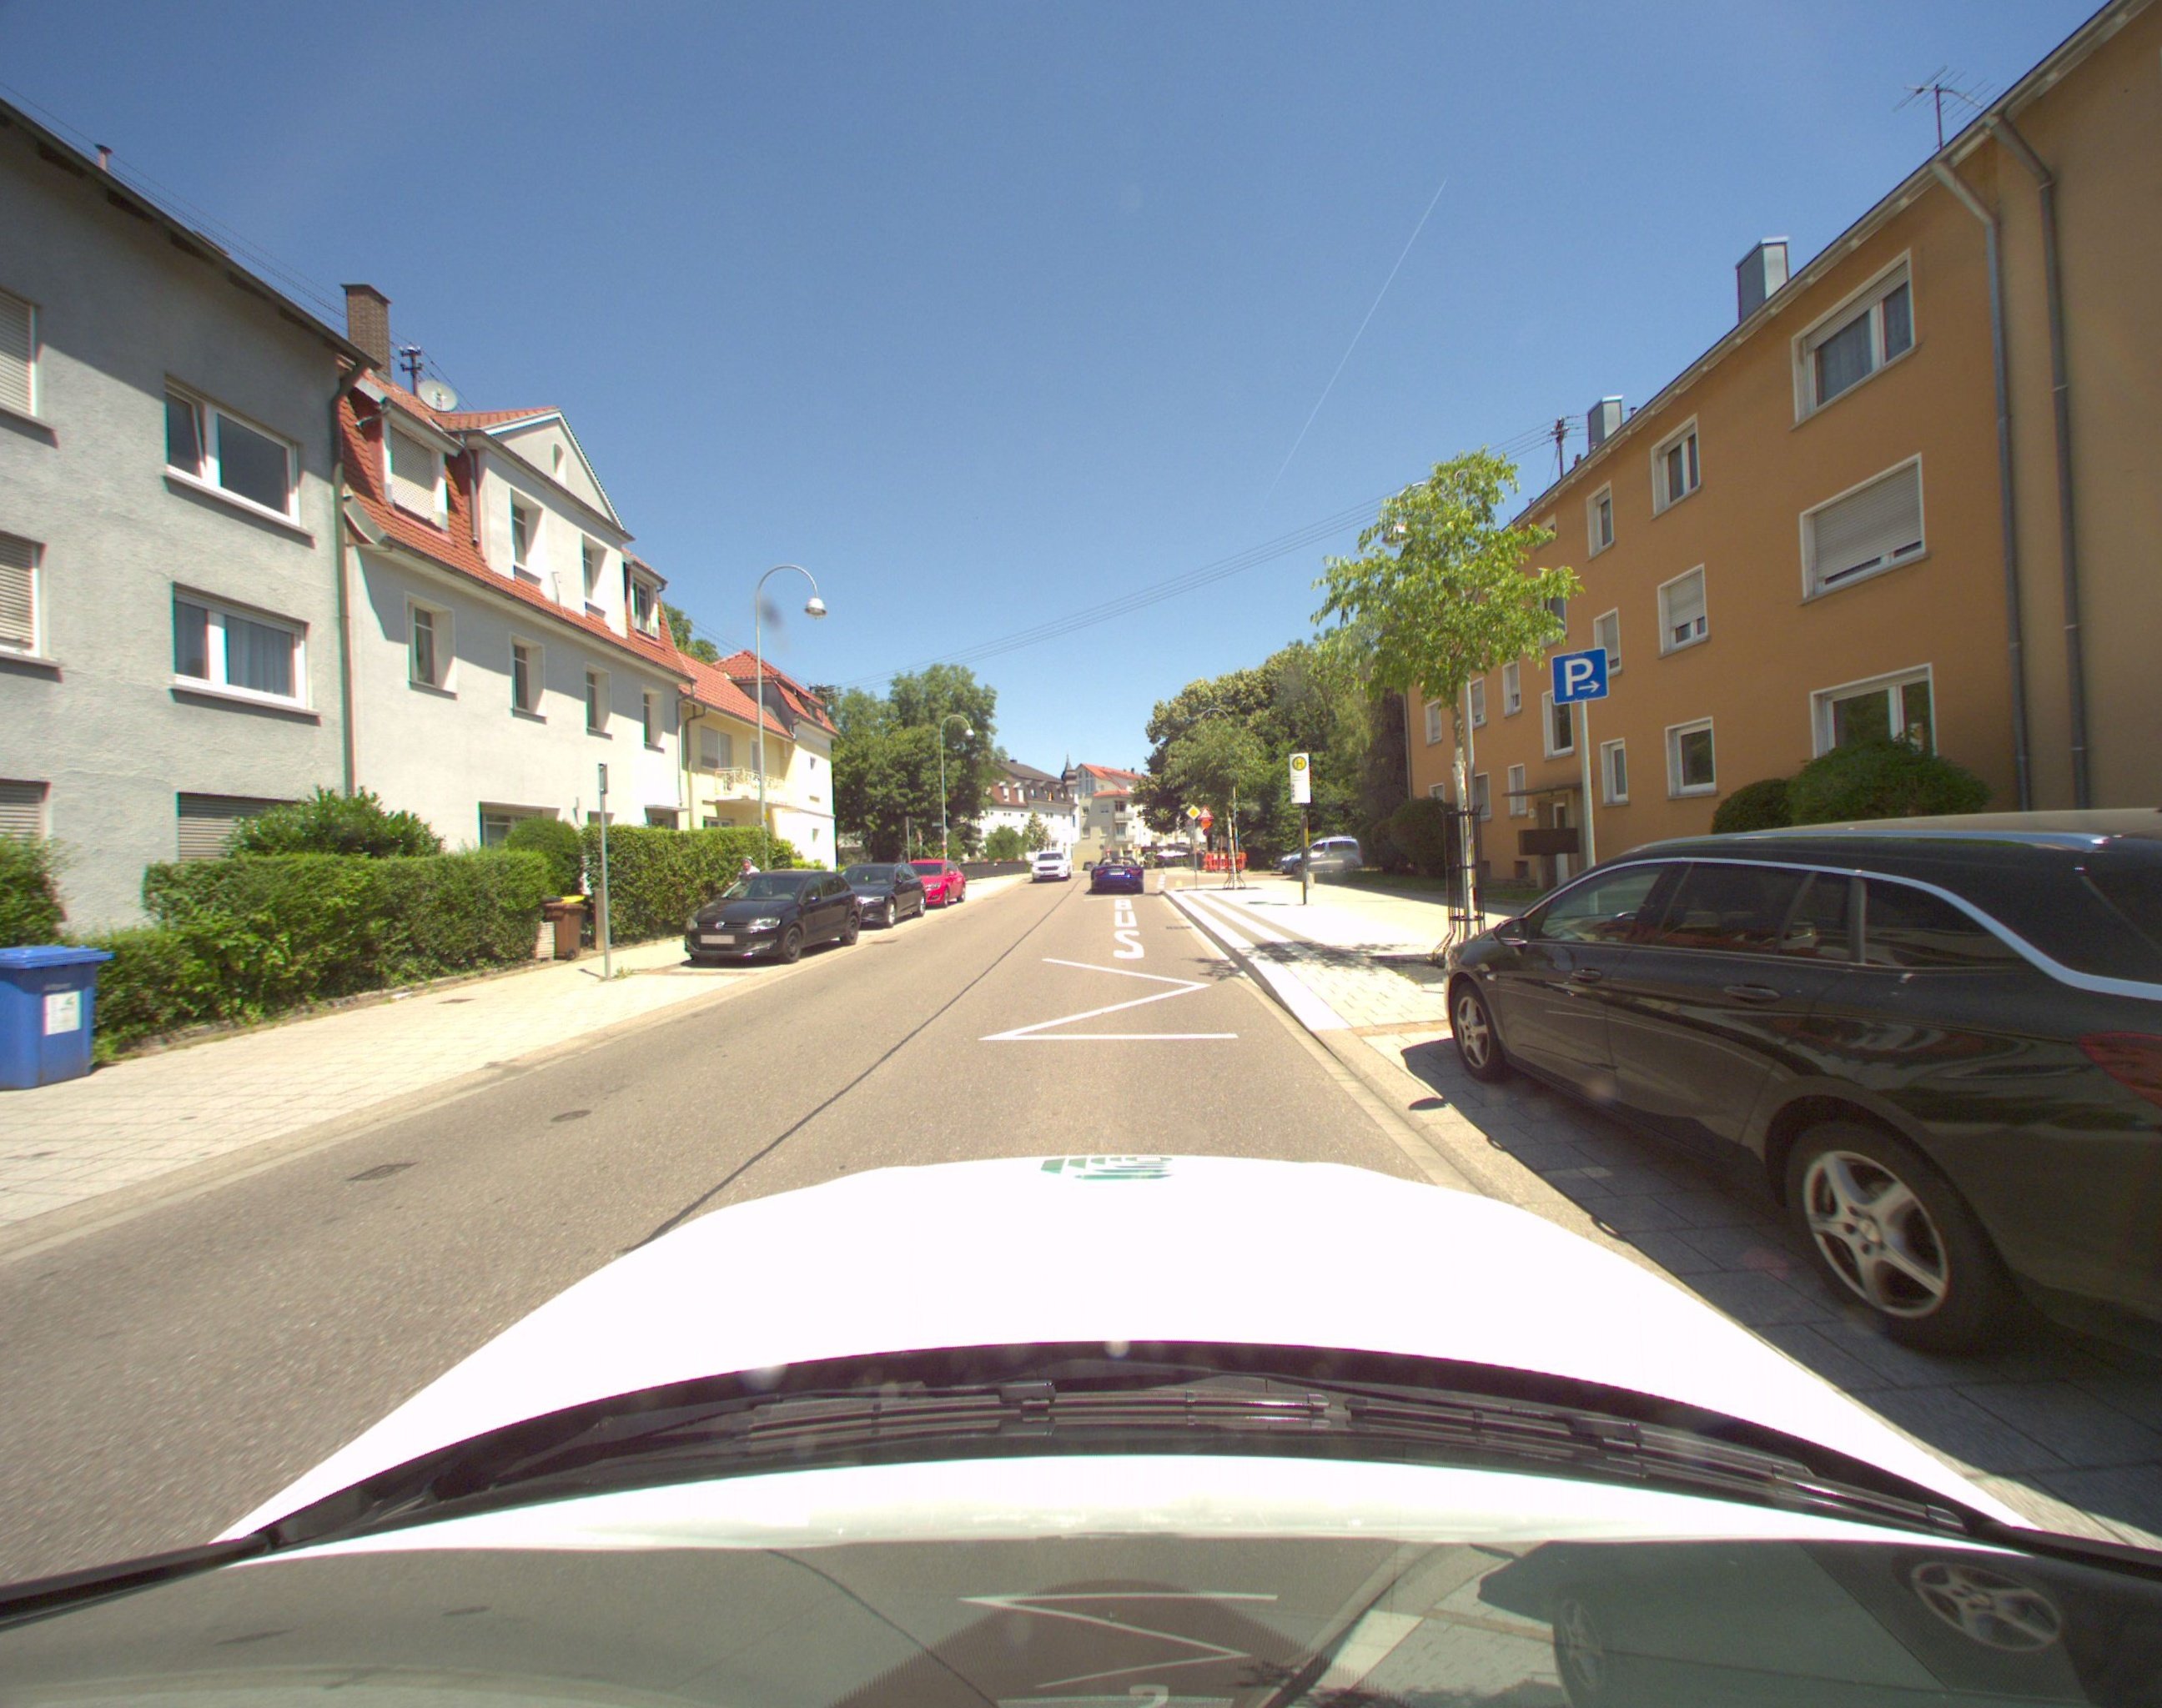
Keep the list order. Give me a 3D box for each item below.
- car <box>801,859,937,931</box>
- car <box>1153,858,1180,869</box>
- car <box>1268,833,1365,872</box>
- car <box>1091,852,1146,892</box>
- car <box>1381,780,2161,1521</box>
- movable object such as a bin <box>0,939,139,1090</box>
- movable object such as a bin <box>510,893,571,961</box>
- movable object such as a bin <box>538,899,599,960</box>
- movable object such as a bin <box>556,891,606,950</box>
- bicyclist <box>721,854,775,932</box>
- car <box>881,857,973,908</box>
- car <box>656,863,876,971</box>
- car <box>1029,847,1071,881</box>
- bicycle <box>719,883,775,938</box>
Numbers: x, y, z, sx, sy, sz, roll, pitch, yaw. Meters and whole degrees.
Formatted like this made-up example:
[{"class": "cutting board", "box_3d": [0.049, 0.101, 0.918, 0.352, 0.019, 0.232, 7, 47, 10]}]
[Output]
[{"class": "car", "box_3d": [-5.108, 0.924, 20.488, 1.856, 1.461, 5.310, -1, 1, 2]}, {"class": "car", "box_3d": [11.701, 1.311, 111.557, 1.696, 1.460, 4.155, 0, -1, 40]}, {"class": "car", "box_3d": [11.844, -0.049, 41.092, 4.332, 1.839, 1.746, -1, -1, -6]}, {"class": "car", "box_3d": [1.410, 0.656, 30.444, 1.863, 1.342, 4.599, -1, -1, 3]}, {"class": "car", "box_3d": [3.159, 0.549, 3.653, 1.827, 1.504, 5.066, -5, 0, 2]}, {"class": "movable object such as a bin", "box_3d": [-8.189, 1.250, 6.436, 0.670, 1.047, 0.652, -3, 0, 1]}, {"class": "movable object such as a bin", "box_3d": [-8.900, 1.186, 13.435, 0.465, 1.030, 0.706, -3, 0, 2]}, {"class": "movable object such as a bin", "box_3d": [-8.429, 1.237, 13.423, 0.492, 0.911, 0.706, -3, 0, 2]}, {"class": "movable object such as a bin", "box_3d": [-9.045, 1.192, 14.736, 0.465, 0.990, 0.614, -3, 0, 2]}, {"class": "bicyclist", "box_3d": [-7.350, 0.845, 18.012, 0.779, 1.659, 0.835, -3, 0, 0]}, {"class": "car", "box_3d": [-4.867, 0.846, 26.408, 1.870, 1.479, 4.741, 0, 0, 2]}, {"class": "car", "box_3d": [-5.164, 0.946, 14.052, 1.778, 1.459, 4.205, 0, 1, 6]}, {"class": "car", "box_3d": [-1.586, 0.502, 43.395, 1.871, 1.597, 4.360, -4, 0, 1]}, {"class": "bicycle", "box_3d": [-7.355, 1.225, 18.001, 0.554, 1.084, 1.514, -3, 0, 1]}]
